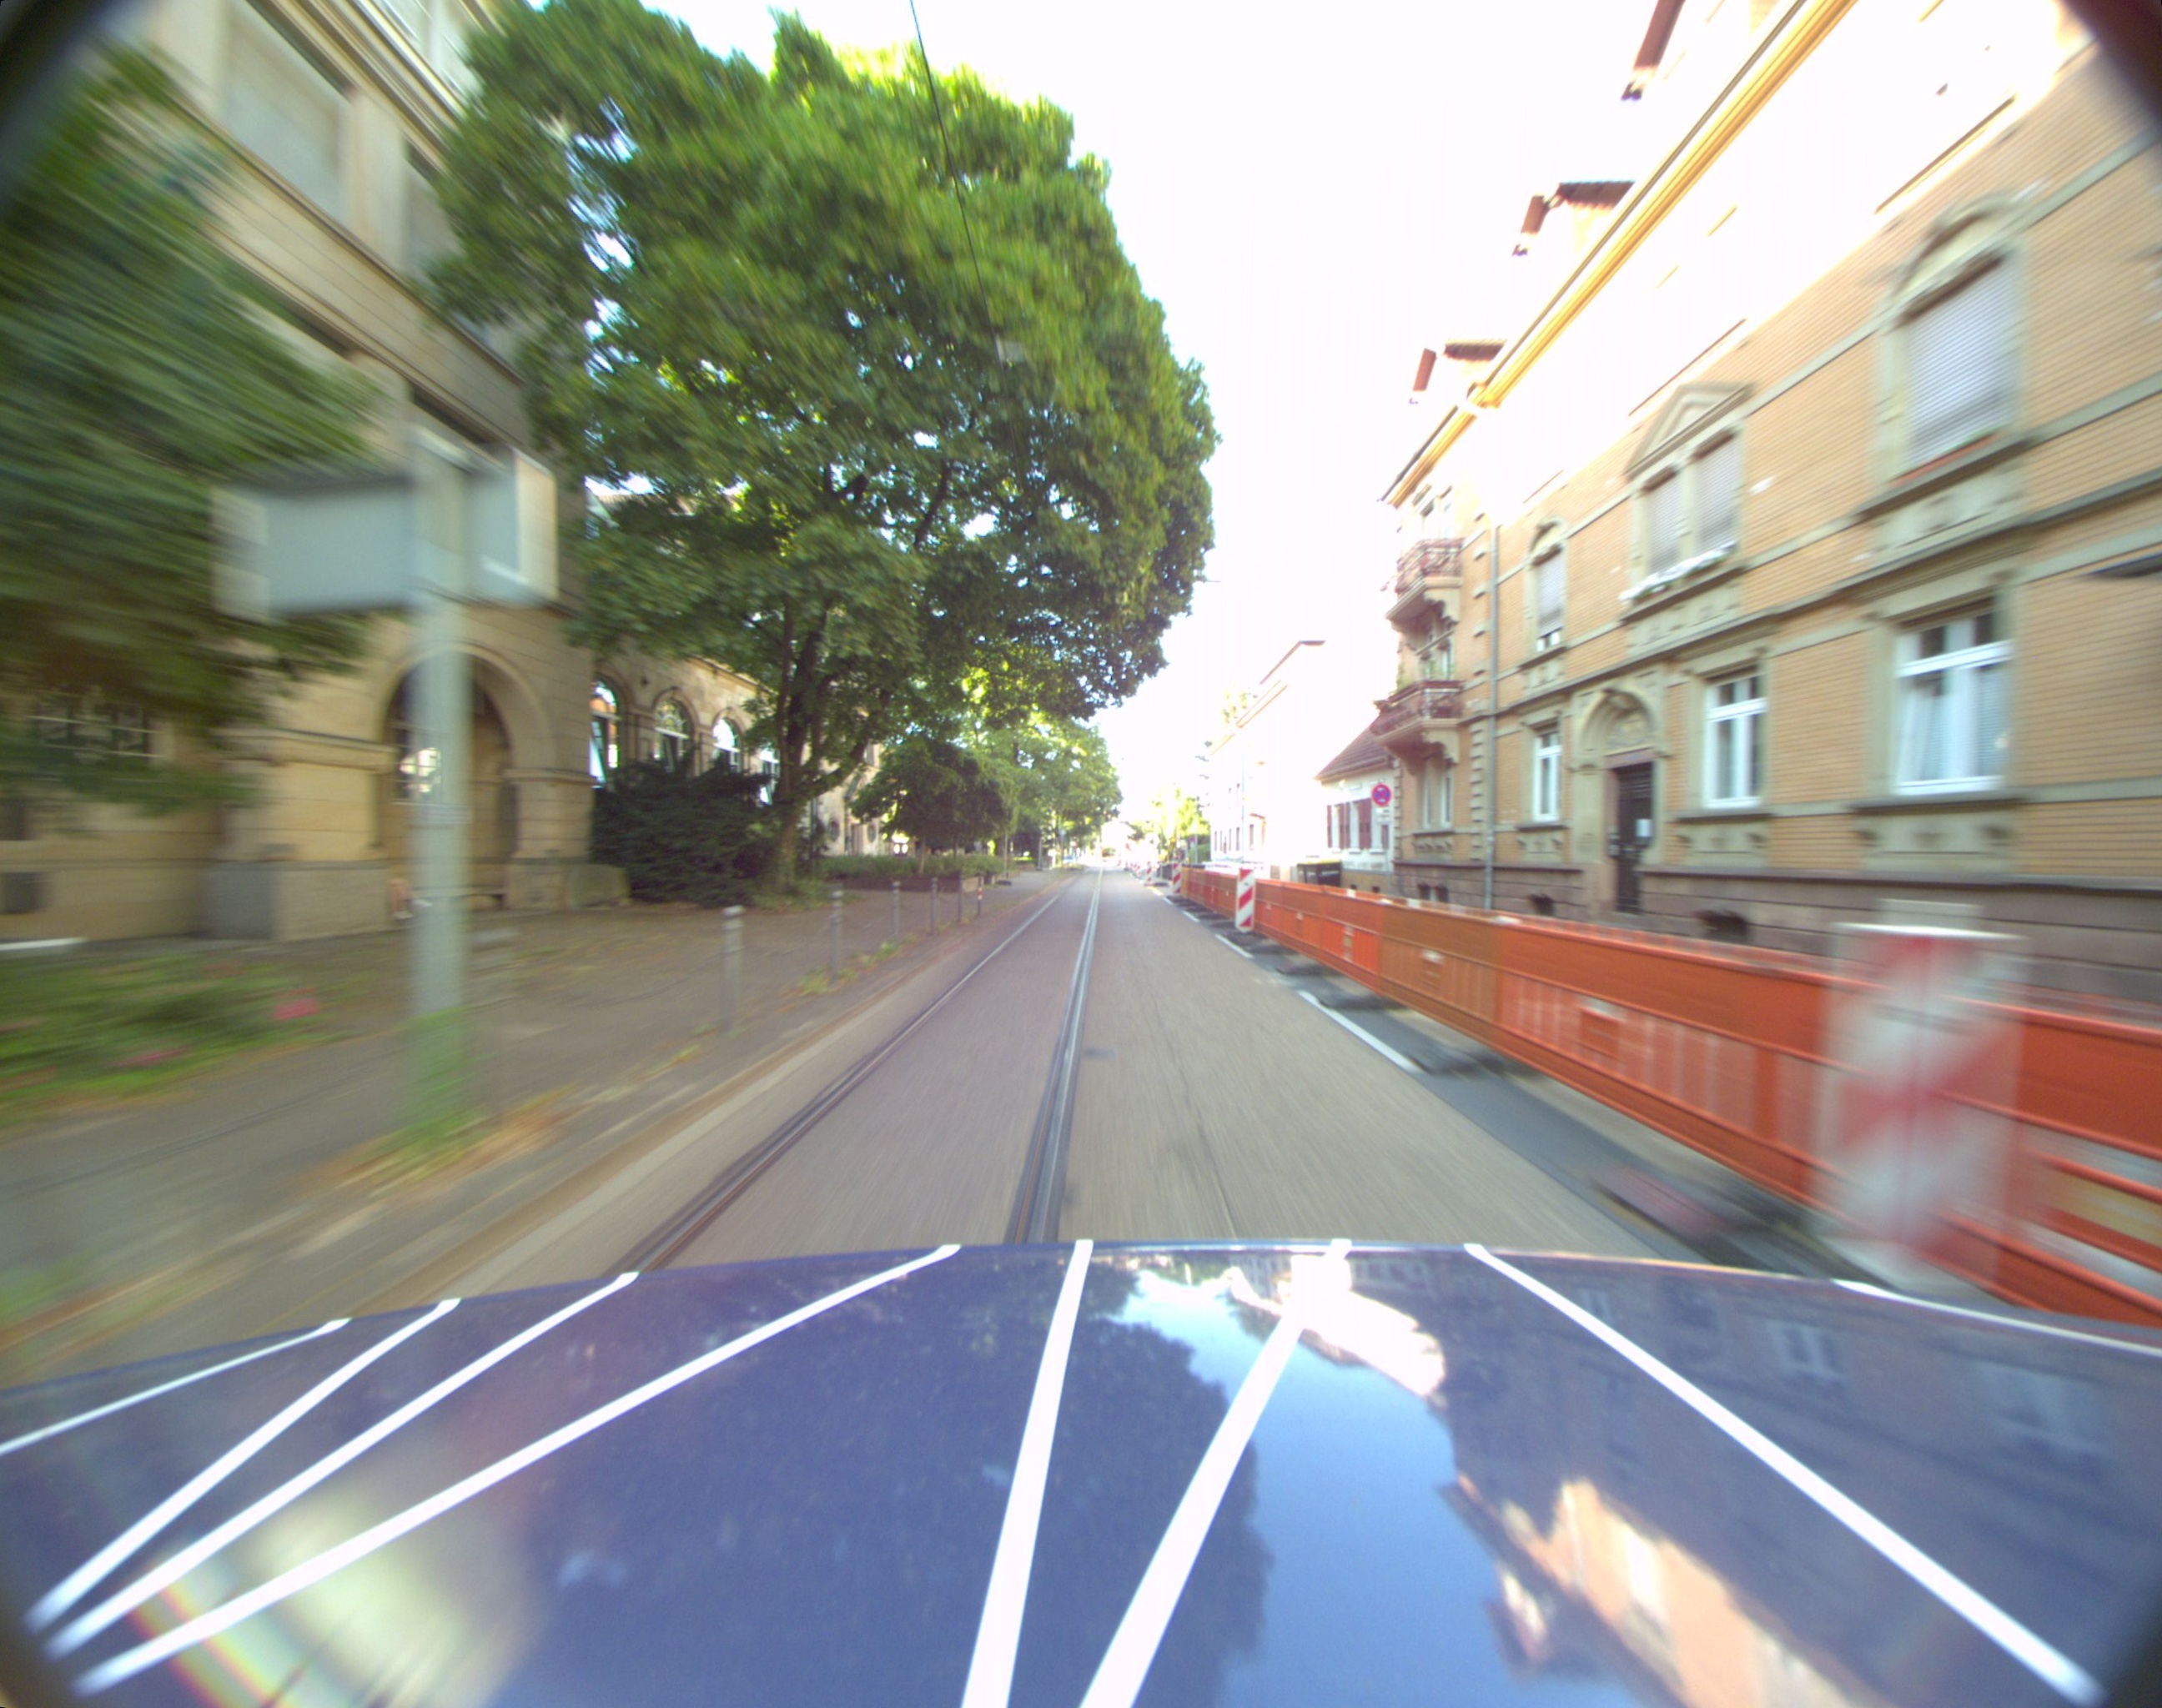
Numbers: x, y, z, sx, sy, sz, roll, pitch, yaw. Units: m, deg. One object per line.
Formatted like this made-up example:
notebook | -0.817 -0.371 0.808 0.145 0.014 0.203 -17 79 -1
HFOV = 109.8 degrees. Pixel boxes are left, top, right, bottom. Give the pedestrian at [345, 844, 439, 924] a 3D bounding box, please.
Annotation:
pedestrian | -11.976 0.515 13.229 0.982 1.347 0.667 -1 1 3
